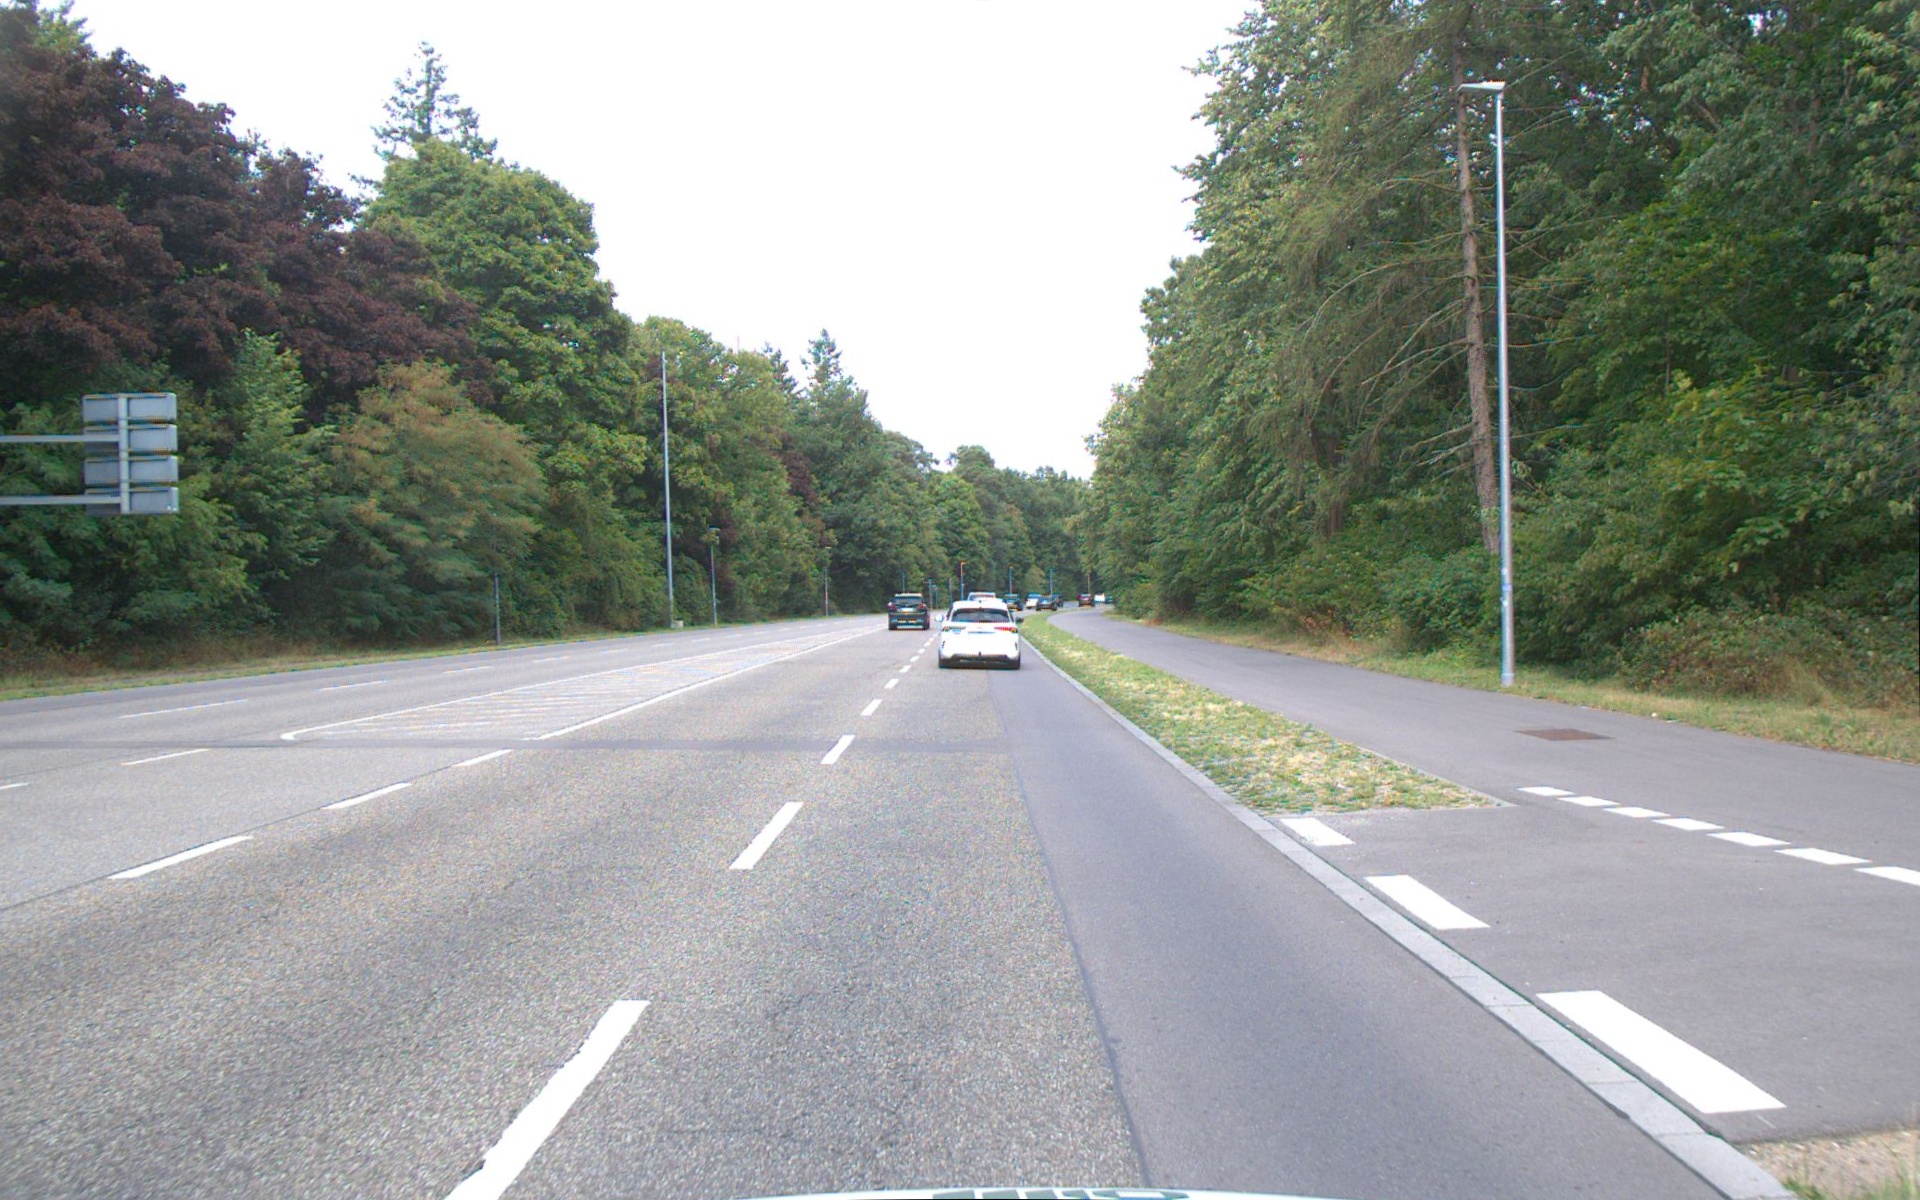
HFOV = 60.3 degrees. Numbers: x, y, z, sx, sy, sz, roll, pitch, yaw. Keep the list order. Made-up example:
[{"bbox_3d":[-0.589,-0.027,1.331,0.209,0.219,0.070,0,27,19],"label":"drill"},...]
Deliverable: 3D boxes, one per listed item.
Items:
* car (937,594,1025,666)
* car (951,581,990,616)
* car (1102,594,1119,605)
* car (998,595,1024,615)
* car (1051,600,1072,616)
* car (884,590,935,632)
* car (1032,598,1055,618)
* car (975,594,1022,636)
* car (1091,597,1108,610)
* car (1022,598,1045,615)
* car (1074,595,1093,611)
[{"bbox_3d":[0.445,0.649,36.417,1.799,1.435,4.490,2,-1,0],"label":"car"},{"bbox_3d":[0.531,-0.089,85.841,1.953,1.635,4.000,1,1,0],"label":"car"},{"bbox_3d":[21.220,-0.027,233.405,1.951,1.434,4.003,1,-1,10],"label":"car"},{"bbox_3d":[4.937,0.495,160.515,1.951,1.814,4.003,1,-1,10],"label":"car"},{"bbox_3d":[12.109,0.999,197.298,1.951,1.814,4.003,1,-1,10],"label":"car"},{"bbox_3d":[-2.275,0.534,75.470,1.952,1.818,4.001,2,-1,3],"label":"car"},{"bbox_3d":[8.171,0.786,161.870,1.951,1.814,4.003,1,-1,7],"label":"car"},{"bbox_3d":[1.413,0.571,61.687,1.602,1.445,3.999,2,-1,-1],"label":"car"},{"bbox_3d":[20.815,0.540,246.777,1.848,1.847,4.003,1,-1,14],"label":"car"},{"bbox_3d":[8.027,0.733,180.720,1.951,1.814,4.003,1,-1,10],"label":"car"},{"bbox_3d":[15.479,0.372,207.041,1.951,1.814,4.003,1,-1,11],"label":"car"}]
